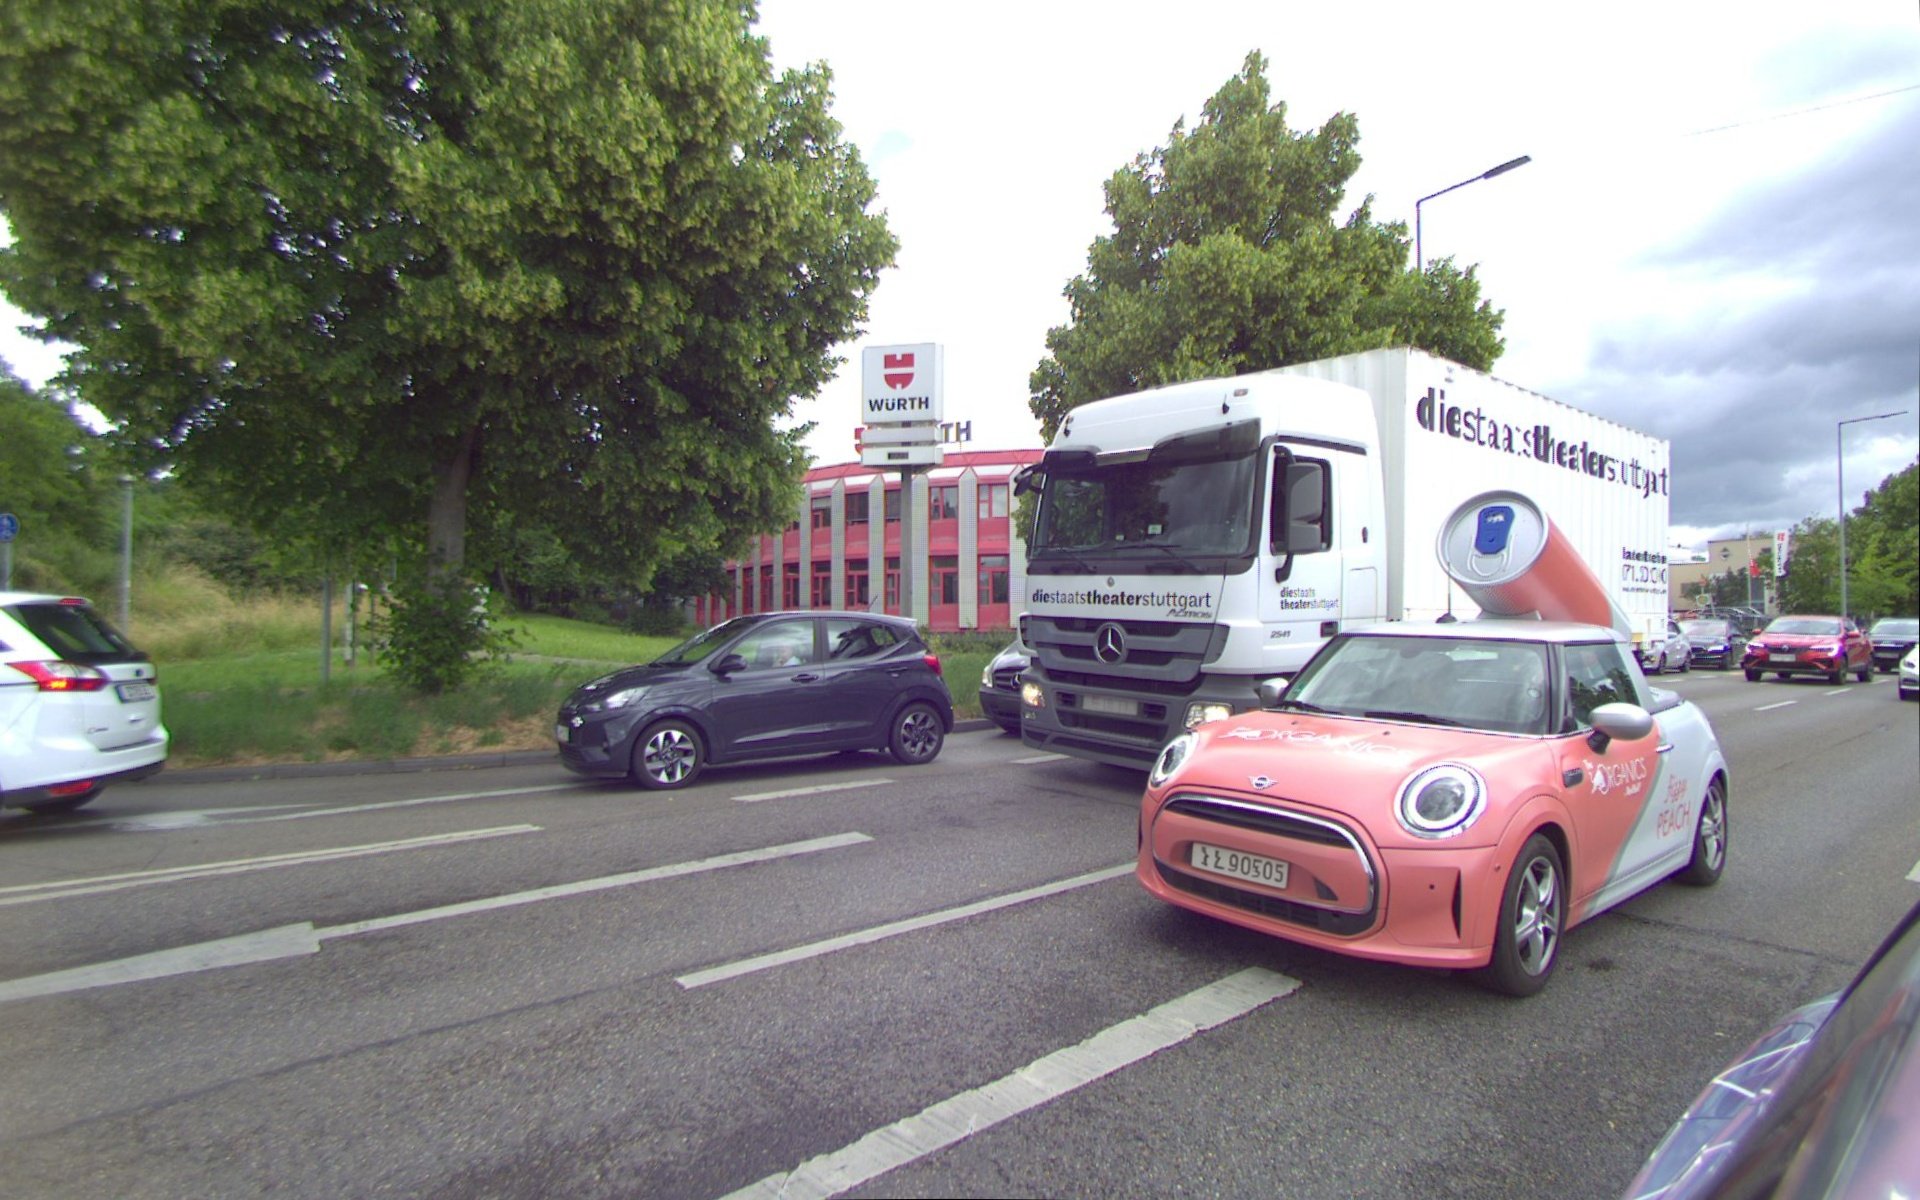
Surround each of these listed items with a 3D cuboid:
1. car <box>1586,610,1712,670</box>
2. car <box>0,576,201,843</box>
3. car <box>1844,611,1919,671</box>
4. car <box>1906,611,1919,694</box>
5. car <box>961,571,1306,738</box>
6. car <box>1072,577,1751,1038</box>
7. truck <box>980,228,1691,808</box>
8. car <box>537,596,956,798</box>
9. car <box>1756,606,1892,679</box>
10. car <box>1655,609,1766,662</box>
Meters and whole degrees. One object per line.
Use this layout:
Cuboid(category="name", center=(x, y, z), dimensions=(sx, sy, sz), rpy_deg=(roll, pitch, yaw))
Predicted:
Cuboid(category="car", center=(18.439, 1.010, 27.017), dimensions=(4.293, 1.458, 1.761), rpy_deg=(0, -1, -41))
Cuboid(category="car", center=(-7.862, 0.695, 6.620), dimensions=(4.278, 1.676, 1.767), rpy_deg=(0, -1, -20))
Cuboid(category="car", center=(27.524, 1.155, 29.584), dimensions=(4.142, 1.549, 1.798), rpy_deg=(-1, 0, -38))
Cuboid(category="car", center=(18.861, 0.902, 18.339), dimensions=(4.237, 1.429, 1.805), rpy_deg=(-1, 0, -37))
Cuboid(category="car", center=(2.361, 0.645, 13.062), dimensions=(4.591, 1.798, 1.761), rpy_deg=(0, -4, -40))
Cuboid(category="car", center=(2.430, 0.692, 5.162), dimensions=(3.431, 1.525, 1.825), rpy_deg=(1, 0, -39))
Cuboid(category="truck", center=(4.906, -0.548, 11.201), dimensions=(10.000, 3.953, 2.808), rpy_deg=(0, 0, -40))
Cuboid(category="car", center=(-1.933, 0.745, 9.479), dimensions=(3.495, 1.525, 1.608), rpy_deg=(-1, 0, -34))
Cuboid(category="car", center=(20.454, 0.963, 23.909), dimensions=(4.299, 1.549, 1.850), rpy_deg=(1, -1, -41))
Cuboid(category="car", center=(22.159, 0.991, 29.835), dimensions=(4.293, 1.458, 1.761), rpy_deg=(0, -1, -41))
